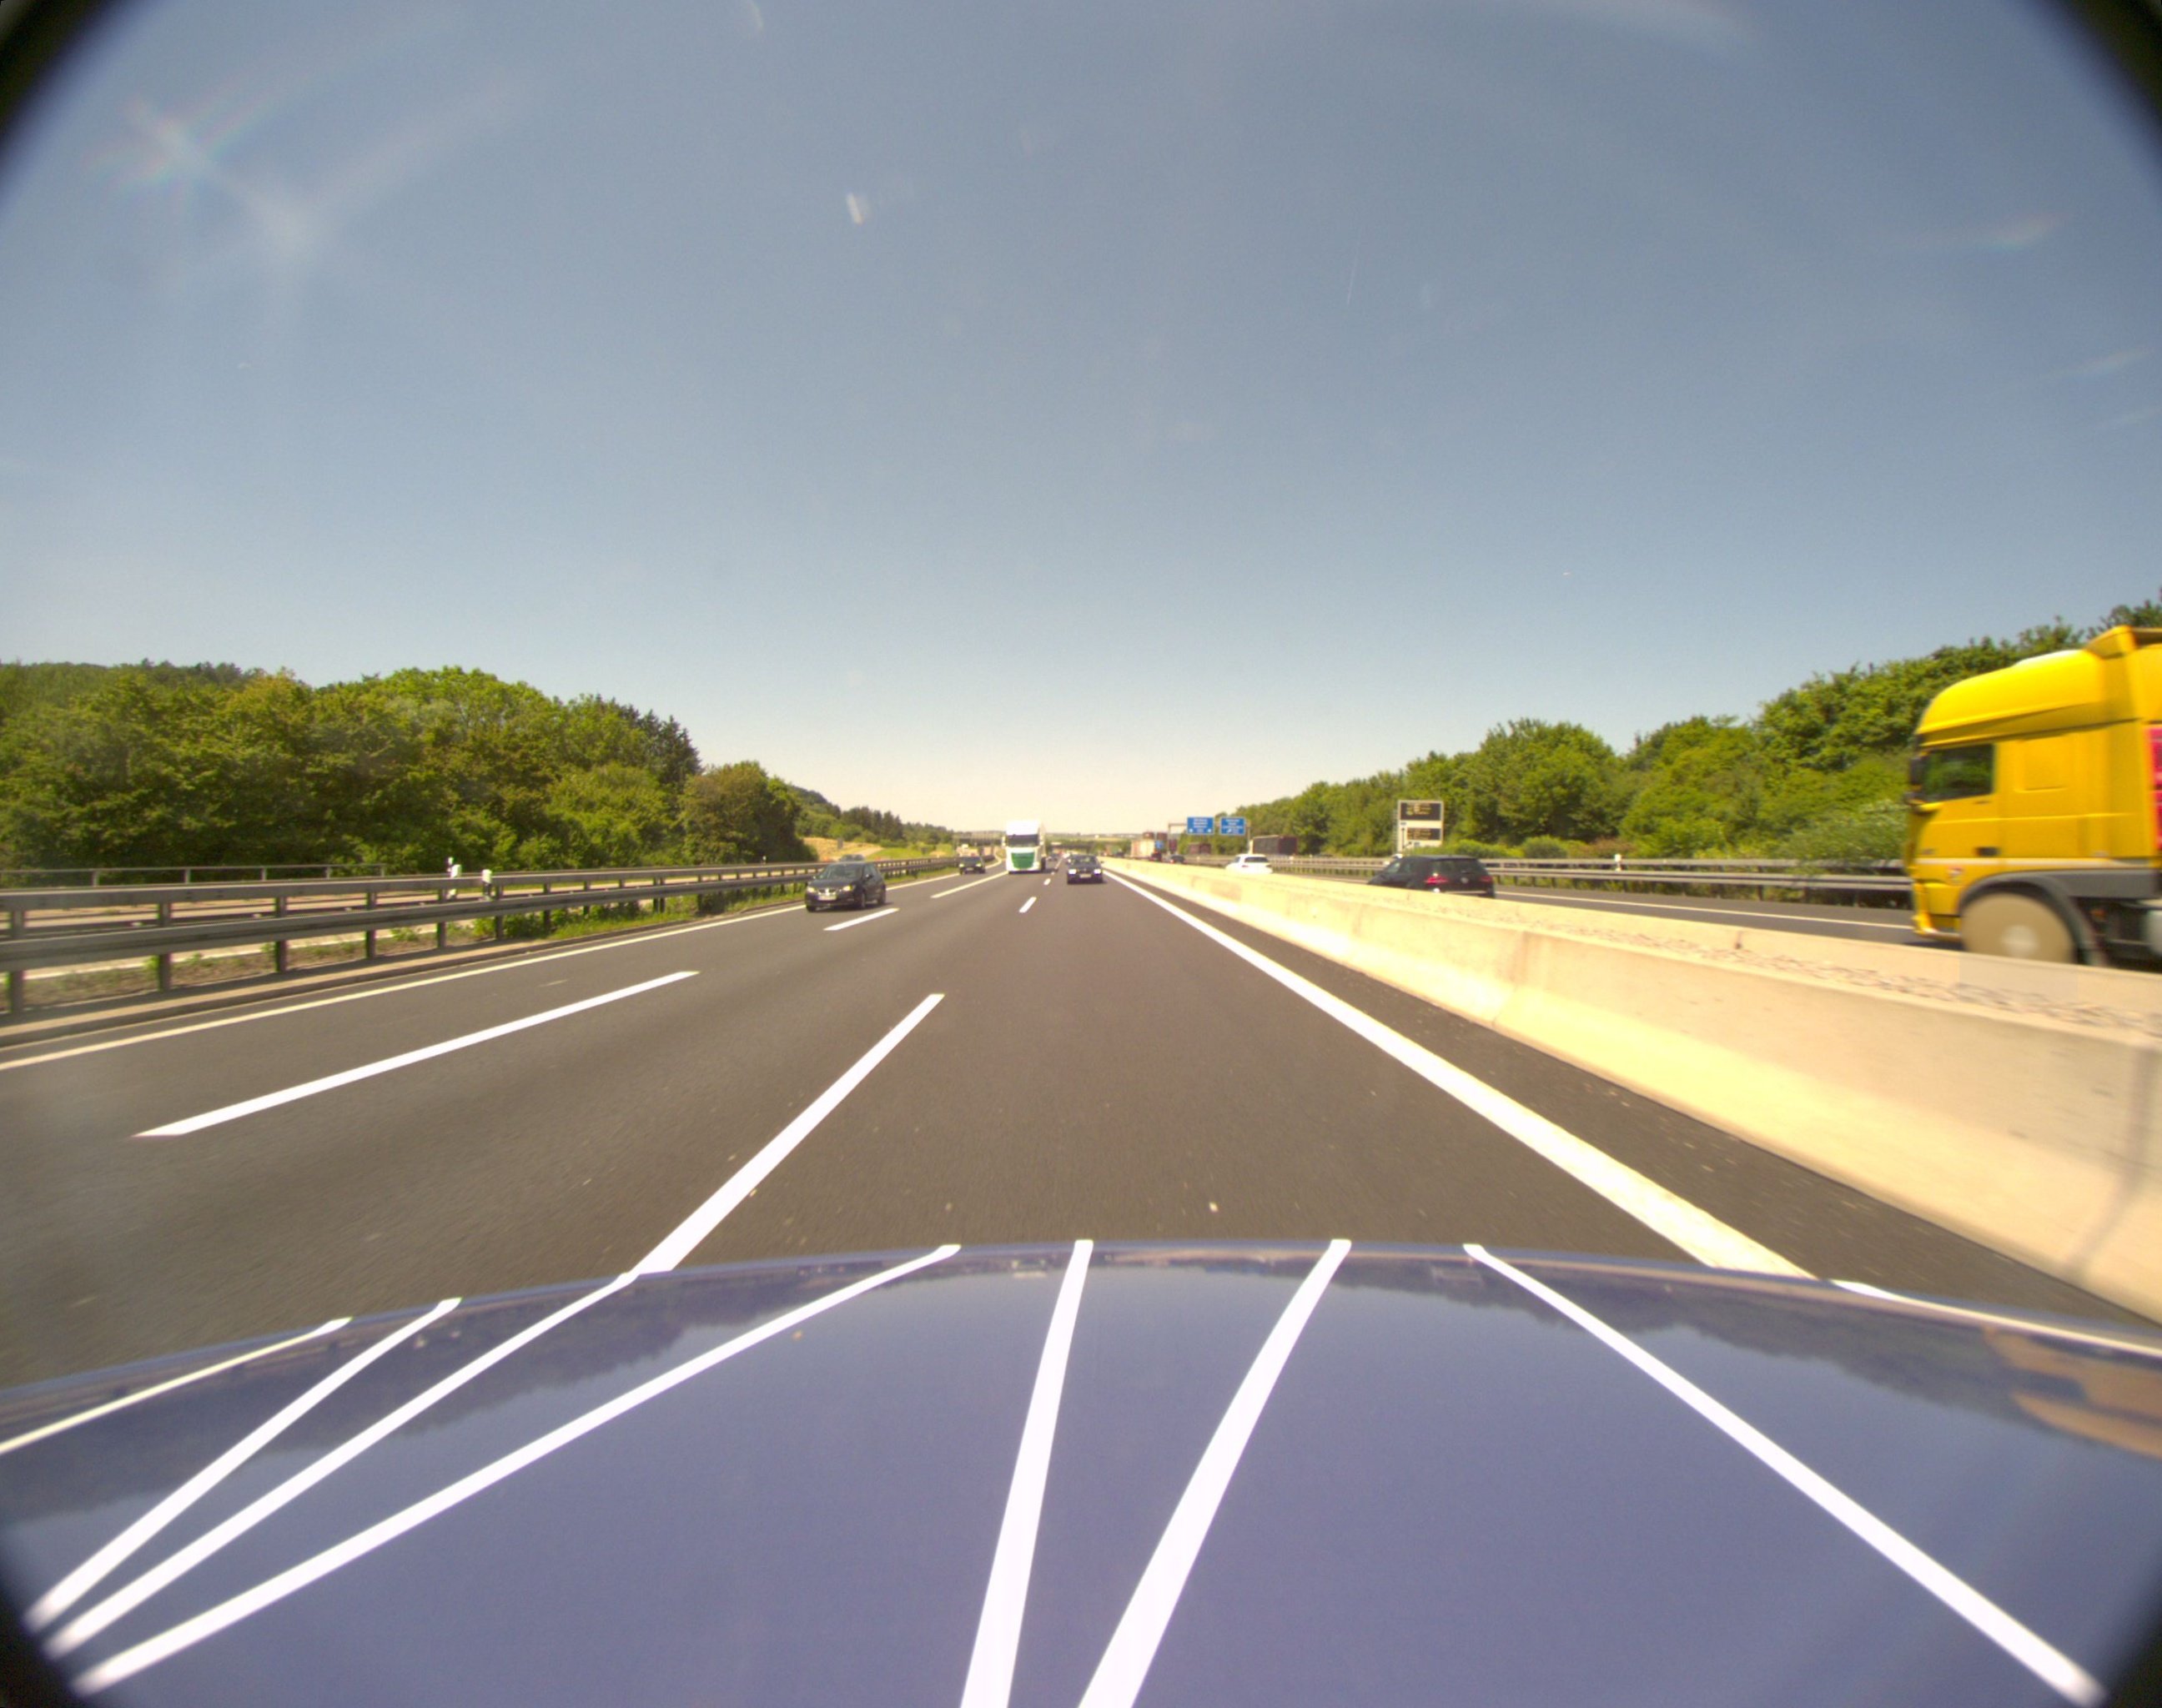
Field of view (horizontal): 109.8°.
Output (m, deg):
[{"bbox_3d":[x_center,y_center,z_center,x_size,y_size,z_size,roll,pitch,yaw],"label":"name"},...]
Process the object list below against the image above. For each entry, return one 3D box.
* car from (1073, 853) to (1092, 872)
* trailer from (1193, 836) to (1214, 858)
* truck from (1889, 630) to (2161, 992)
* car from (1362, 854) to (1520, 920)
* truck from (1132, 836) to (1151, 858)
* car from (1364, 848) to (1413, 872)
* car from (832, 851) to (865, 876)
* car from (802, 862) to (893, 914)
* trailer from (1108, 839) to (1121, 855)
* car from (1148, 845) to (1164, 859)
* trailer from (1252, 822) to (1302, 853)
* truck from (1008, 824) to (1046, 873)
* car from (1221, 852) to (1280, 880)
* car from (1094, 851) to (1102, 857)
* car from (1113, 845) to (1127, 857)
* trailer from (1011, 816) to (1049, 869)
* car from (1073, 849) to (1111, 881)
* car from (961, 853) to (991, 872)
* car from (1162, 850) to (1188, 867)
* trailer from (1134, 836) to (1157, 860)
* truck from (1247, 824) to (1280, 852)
[{"bbox_3d":[0.121,0.904,86.268,1.999,2.002,3.999,-1,1,-1],"label":"car"},{"bbox_3d":[26.684,-1.558,166.213,2.801,4.408,11.652,-1,1,1],"label":"trailer"},{"bbox_3d":[12.552,-0.468,8.078,2.756,3.733,4.865,-1,1,0],"label":"truck"},{"bbox_3d":[8.518,0.708,18.438,1.998,1.342,4.259,-1,1,3],"label":"car"},{"bbox_3d":[11.204,-1.291,141.749,2.936,3.950,5.896,-1,1,-1],"label":"truck"},{"bbox_3d":[23.892,0.453,59.180,1.999,1.846,4.429,0,0,-1],"label":"car"},{"bbox_3d":[-19.739,0.808,64.556,2.000,2.002,3.997,-1,1,-7],"label":"car"},{"bbox_3d":[-7.160,0.994,23.673,1.781,1.392,3.760,-1,1,-2],"label":"car"},{"bbox_3d":[9.550,-2.080,217.979,2.674,4.248,13.811,-1,1,-1],"label":"trailer"},{"bbox_3d":[10.881,-0.340,110.852,1.998,2.002,4.484,-1,1,1],"label":"car"},{"bbox_3d":[27.383,-2.266,106.963,3.228,4.022,13.533,-1,1,-1],"label":"trailer"},{"bbox_3d":[-4.070,-0.459,58.237,2.649,3.572,4.402,-1,1,-2],"label":"truck"},{"bbox_3d":[8.800,0.594,39.771,1.999,1.366,4.662,-1,0,0],"label":"car"},{"bbox_3d":[5.128,0.037,230.583,1.989,1.816,4.824,3,1,-2],"label":"car"},{"bbox_3d":[7.012,-0.514,136.142,2.056,2.002,4.953,-1,1,-2],"label":"car"},{"bbox_3d":[-4.375,-0.941,67.863,2.663,4.164,14.891,-1,0,-2],"label":"trailer"},{"bbox_3d":[0.506,0.529,39.495,1.799,1.574,3.999,-1,1,-2],"label":"car"},{"bbox_3d":[-8.461,0.674,61.432,1.892,1.464,3.866,-1,1,-1],"label":"car"},{"bbox_3d":[8.653,0.423,70.443,1.733,1.527,4.612,-1,0,-1],"label":"car"},{"bbox_3d":[11.328,-1.118,134.342,2.917,4.022,12.060,-1,1,-1],"label":"trailer"},{"bbox_3d":[27.288,-2.348,114.102,3.228,4.022,6.638,-1,1,-1],"label":"truck"}]
